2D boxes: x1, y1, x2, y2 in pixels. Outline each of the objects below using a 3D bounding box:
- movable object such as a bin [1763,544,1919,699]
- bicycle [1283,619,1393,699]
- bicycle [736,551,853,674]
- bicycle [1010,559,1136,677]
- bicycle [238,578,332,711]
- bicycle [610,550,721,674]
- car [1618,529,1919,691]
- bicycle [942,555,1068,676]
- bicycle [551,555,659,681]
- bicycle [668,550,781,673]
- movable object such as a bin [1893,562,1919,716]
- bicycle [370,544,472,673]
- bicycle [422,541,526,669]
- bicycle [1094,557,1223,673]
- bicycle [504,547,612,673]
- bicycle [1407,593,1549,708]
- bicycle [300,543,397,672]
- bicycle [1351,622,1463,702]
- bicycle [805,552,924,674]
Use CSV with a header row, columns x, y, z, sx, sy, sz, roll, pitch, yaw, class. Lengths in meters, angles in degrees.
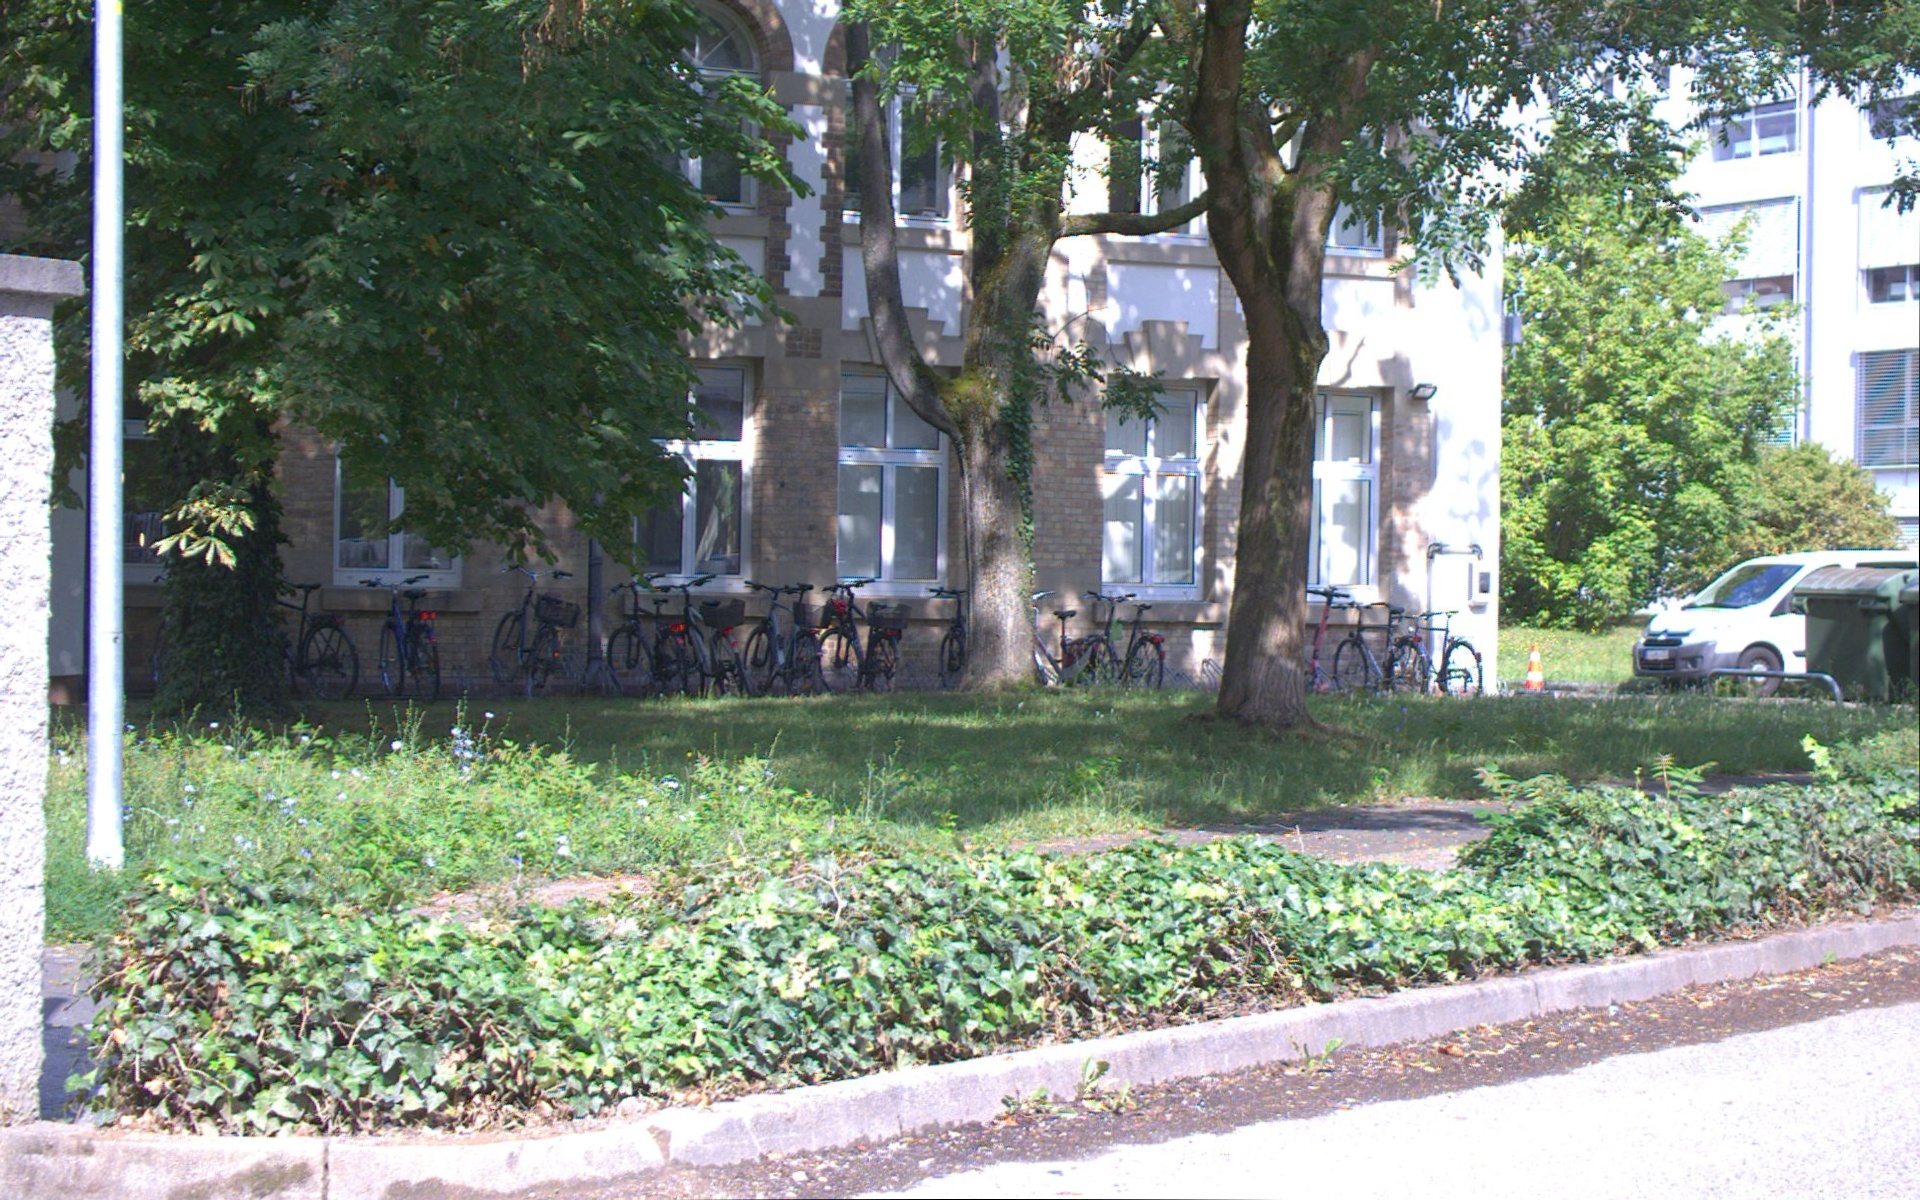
x,y,z,sx,sy,sz,roll,pitch,yaw,class
8.148,0.187,31.220,0.943,1.344,1.381,1,1,-31,movable object such as a bin
3.741,0.578,34.124,0.319,0.703,1.860,1,1,-18,bicycle
-1.550,0.100,31.911,0.418,1.052,2.068,-3,3,-21,bicycle
1.070,0.160,33.088,0.418,1.052,2.068,1,1,-21,bicycle
-5.902,0.371,30.016,0.418,1.052,2.068,-3,3,-21,bicycle
-2.722,0.094,31.640,0.418,1.052,2.068,-3,3,-21,bicycle
11.192,0.104,44.519,4.938,1.958,2.000,-1,0,-23,car
0.413,0.129,32.624,0.418,1.052,2.068,-3,3,-21,bicycle
-3.222,0.144,31.074,0.418,1.052,2.068,-3,3,-21,bicycle
-2.199,0.088,31.913,0.418,1.052,2.068,-3,3,-21,bicycle
8.951,0.358,29.980,0.943,1.344,1.234,1,1,-31,movable object such as a bin
-4.775,0.059,30.371,0.418,1.052,2.068,-3,3,-21,bicycle
-4.332,0.029,30.553,0.418,1.052,2.068,-3,3,-21,bicycle
1.905,0.130,33.320,0.418,1.052,2.068,1,1,-21,bicycle
-3.634,0.072,30.952,0.418,1.052,2.068,-3,3,-21,bicycle
5.213,0.492,34.696,0.418,1.052,2.068,-3,3,-21,bicycle
-5.423,0.047,30.431,0.418,1.052,2.068,-3,3,-21,bicycle
4.454,0.610,34.359,0.319,0.703,1.860,1,1,-18,bicycle
-0.914,0.106,32.277,0.418,1.052,2.068,-3,3,-21,bicycle
